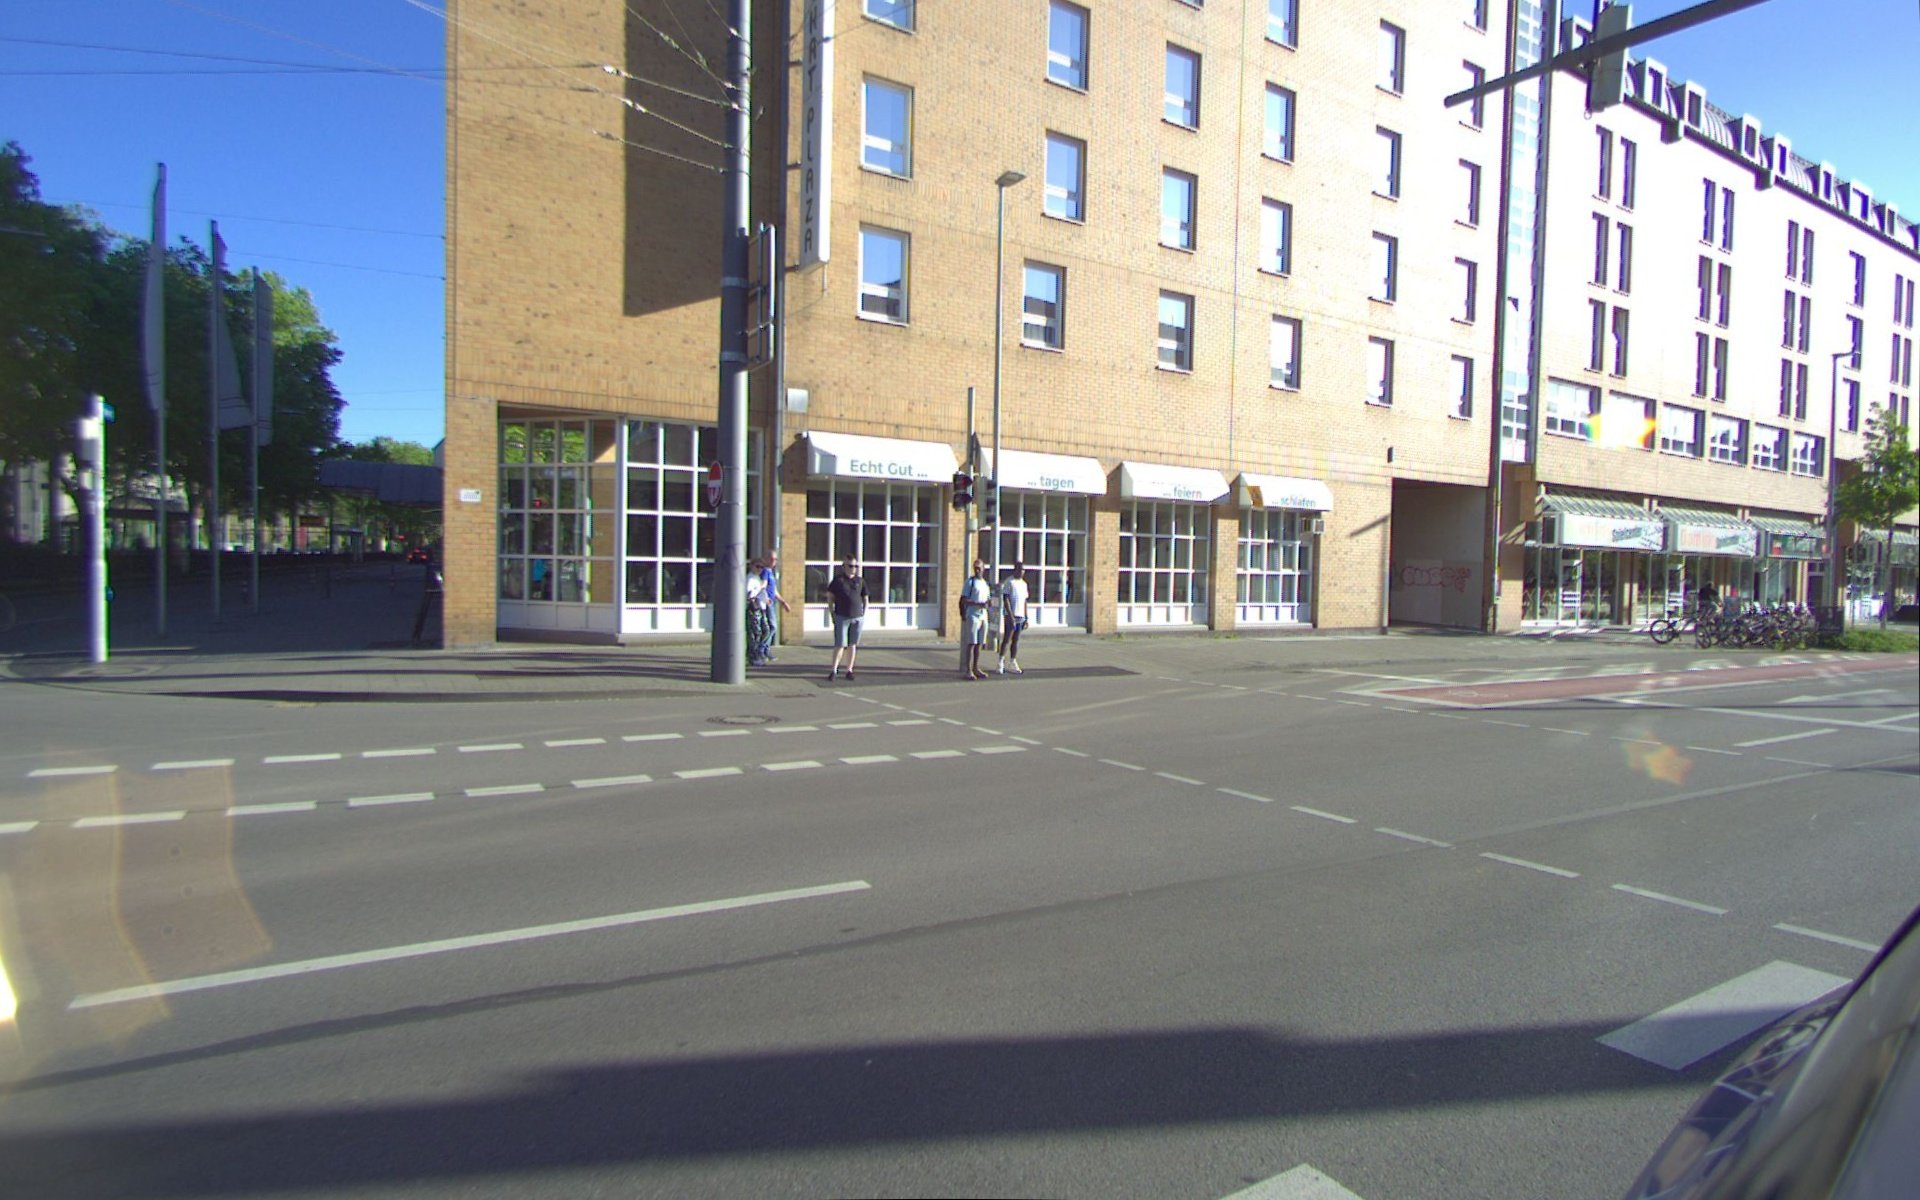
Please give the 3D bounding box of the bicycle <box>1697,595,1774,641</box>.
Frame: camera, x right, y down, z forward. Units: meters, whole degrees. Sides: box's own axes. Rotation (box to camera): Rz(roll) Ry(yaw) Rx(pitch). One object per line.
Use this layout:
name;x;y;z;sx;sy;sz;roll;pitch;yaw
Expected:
bicycle;22.059;0.495;28.826;0.542;1.162;1.780;0;4;-11

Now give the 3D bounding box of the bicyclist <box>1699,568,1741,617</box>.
bicyclist;25.160;-0.252;33.514;0.832;1.532;0.582;2;5;-17

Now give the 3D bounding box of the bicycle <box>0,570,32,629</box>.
bicycle;-17.857;0.002;17.993;0.780;1.065;1.917;0;1;11

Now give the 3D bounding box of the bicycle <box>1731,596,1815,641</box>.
bicycle;23.347;0.506;29.093;0.542;1.155;1.779;-1;4;-28

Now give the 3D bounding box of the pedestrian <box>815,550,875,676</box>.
pedestrian;-1.677;0.178;14.696;0.680;1.790;0.575;1;0;-26

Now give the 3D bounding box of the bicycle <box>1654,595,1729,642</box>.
bicycle;20.633;0.504;28.582;0.542;1.162;1.780;0;4;-11

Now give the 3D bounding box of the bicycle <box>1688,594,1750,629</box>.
bicycle;25.216;0.394;33.620;1.842;1.062;0.604;1;6;-18

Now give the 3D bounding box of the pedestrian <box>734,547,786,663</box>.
pedestrian;-3.050;0.061;15.428;0.645;1.725;0.564;-1;1;-27

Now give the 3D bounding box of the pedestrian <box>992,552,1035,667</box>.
pedestrian;0.852;0.145;16.230;0.567;1.795;0.406;1;3;-8

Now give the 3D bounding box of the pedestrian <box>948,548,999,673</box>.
pedestrian;0.215;0.138;15.491;0.493;1.855;0.727;3;3;24

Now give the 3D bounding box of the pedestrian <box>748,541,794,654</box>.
pedestrian;-3.024;-0.045;16.154;0.590;1.749;0.605;0;1;-25

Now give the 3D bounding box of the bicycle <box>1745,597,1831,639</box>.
bicycle;24.343;0.518;29.775;0.722;1.084;1.779;-1;4;-28

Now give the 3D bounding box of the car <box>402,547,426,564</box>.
car;-57.976;-4.697;107.552;1.886;1.690;3.765;1;1;-24
